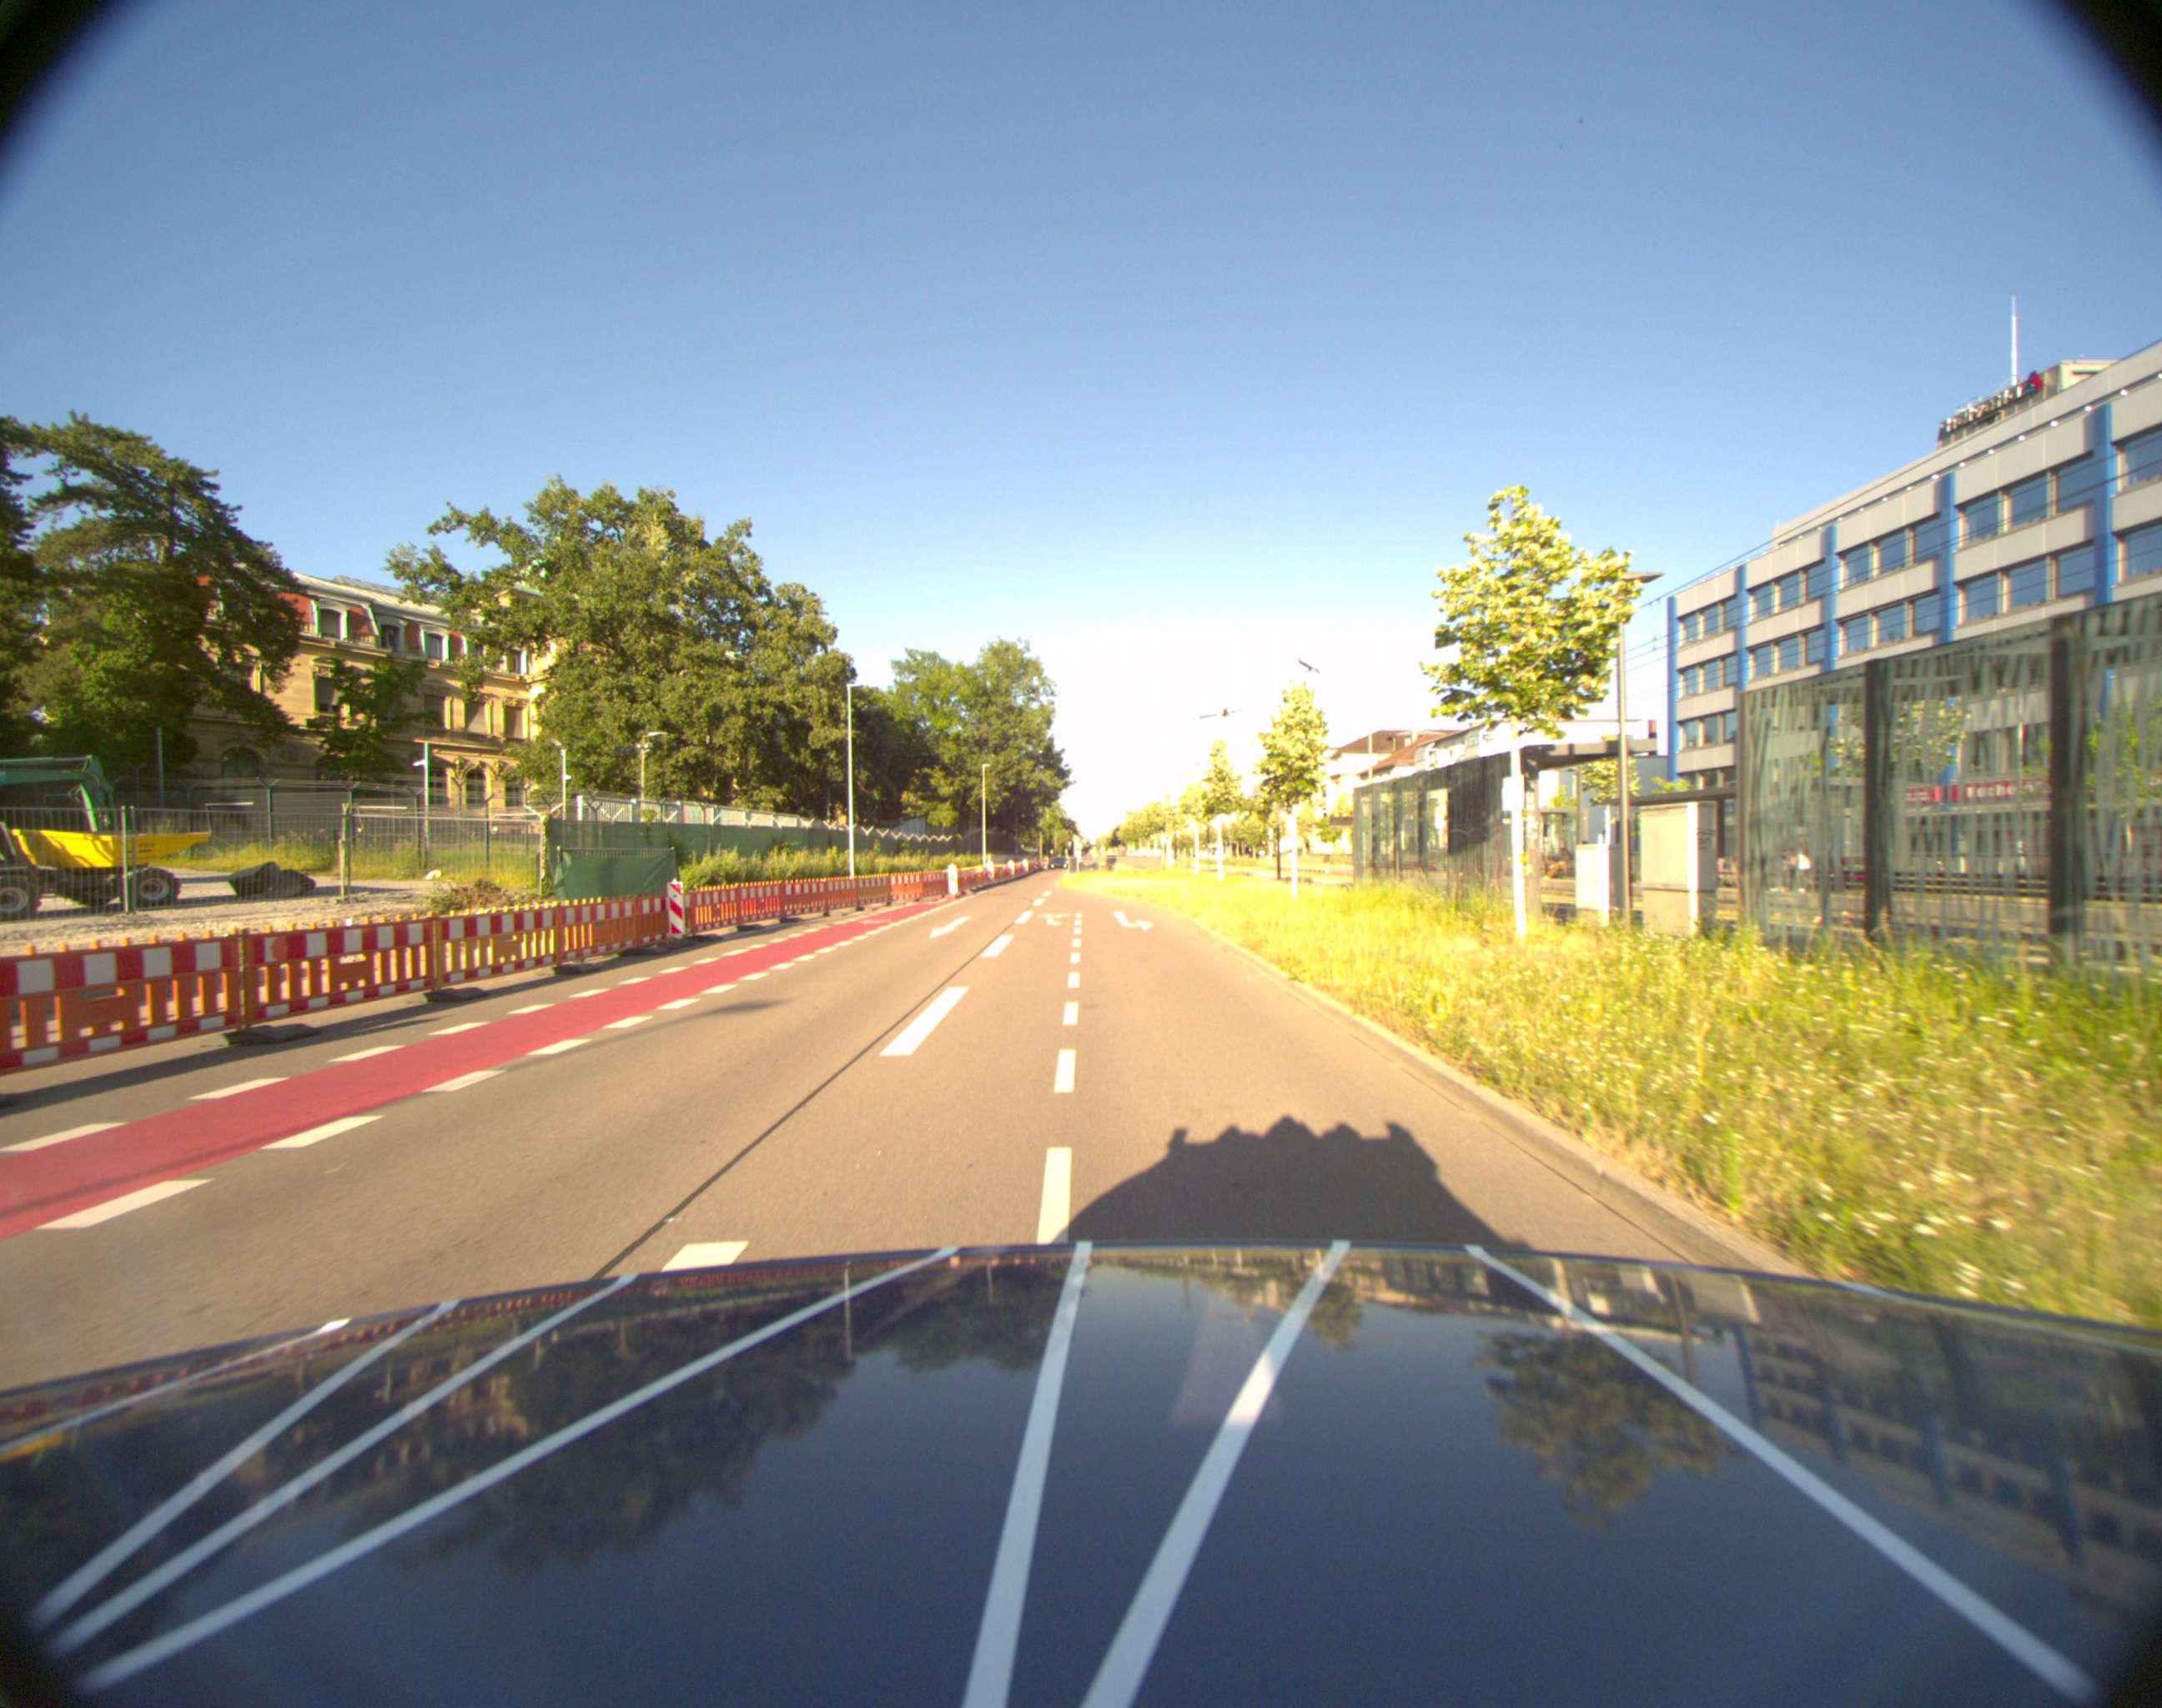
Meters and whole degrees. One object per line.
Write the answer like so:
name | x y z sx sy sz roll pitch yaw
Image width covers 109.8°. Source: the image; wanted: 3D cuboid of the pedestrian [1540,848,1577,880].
pedestrian | 18.198 0.367 28.983 0.936 1.190 0.764 0 1 0

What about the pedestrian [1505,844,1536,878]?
pedestrian | 18.239 0.278 31.554 0.840 1.402 0.804 0 1 0

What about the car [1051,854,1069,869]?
car | -2.665 0.895 95.190 2.080 1.827 4.000 -1 1 1

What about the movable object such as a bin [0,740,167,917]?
movable object such as a bin | -22.772 -0.491 15.095 2.281 3.537 5.500 -1 0 5

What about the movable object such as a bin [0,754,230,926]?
movable object such as a bin | -18.982 -0.228 13.931 1.997 2.887 4.002 -1 0 7

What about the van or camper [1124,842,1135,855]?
van or camper | 11.836 -1.414 185.399 2.510 3.149 7.476 -1 0 3
